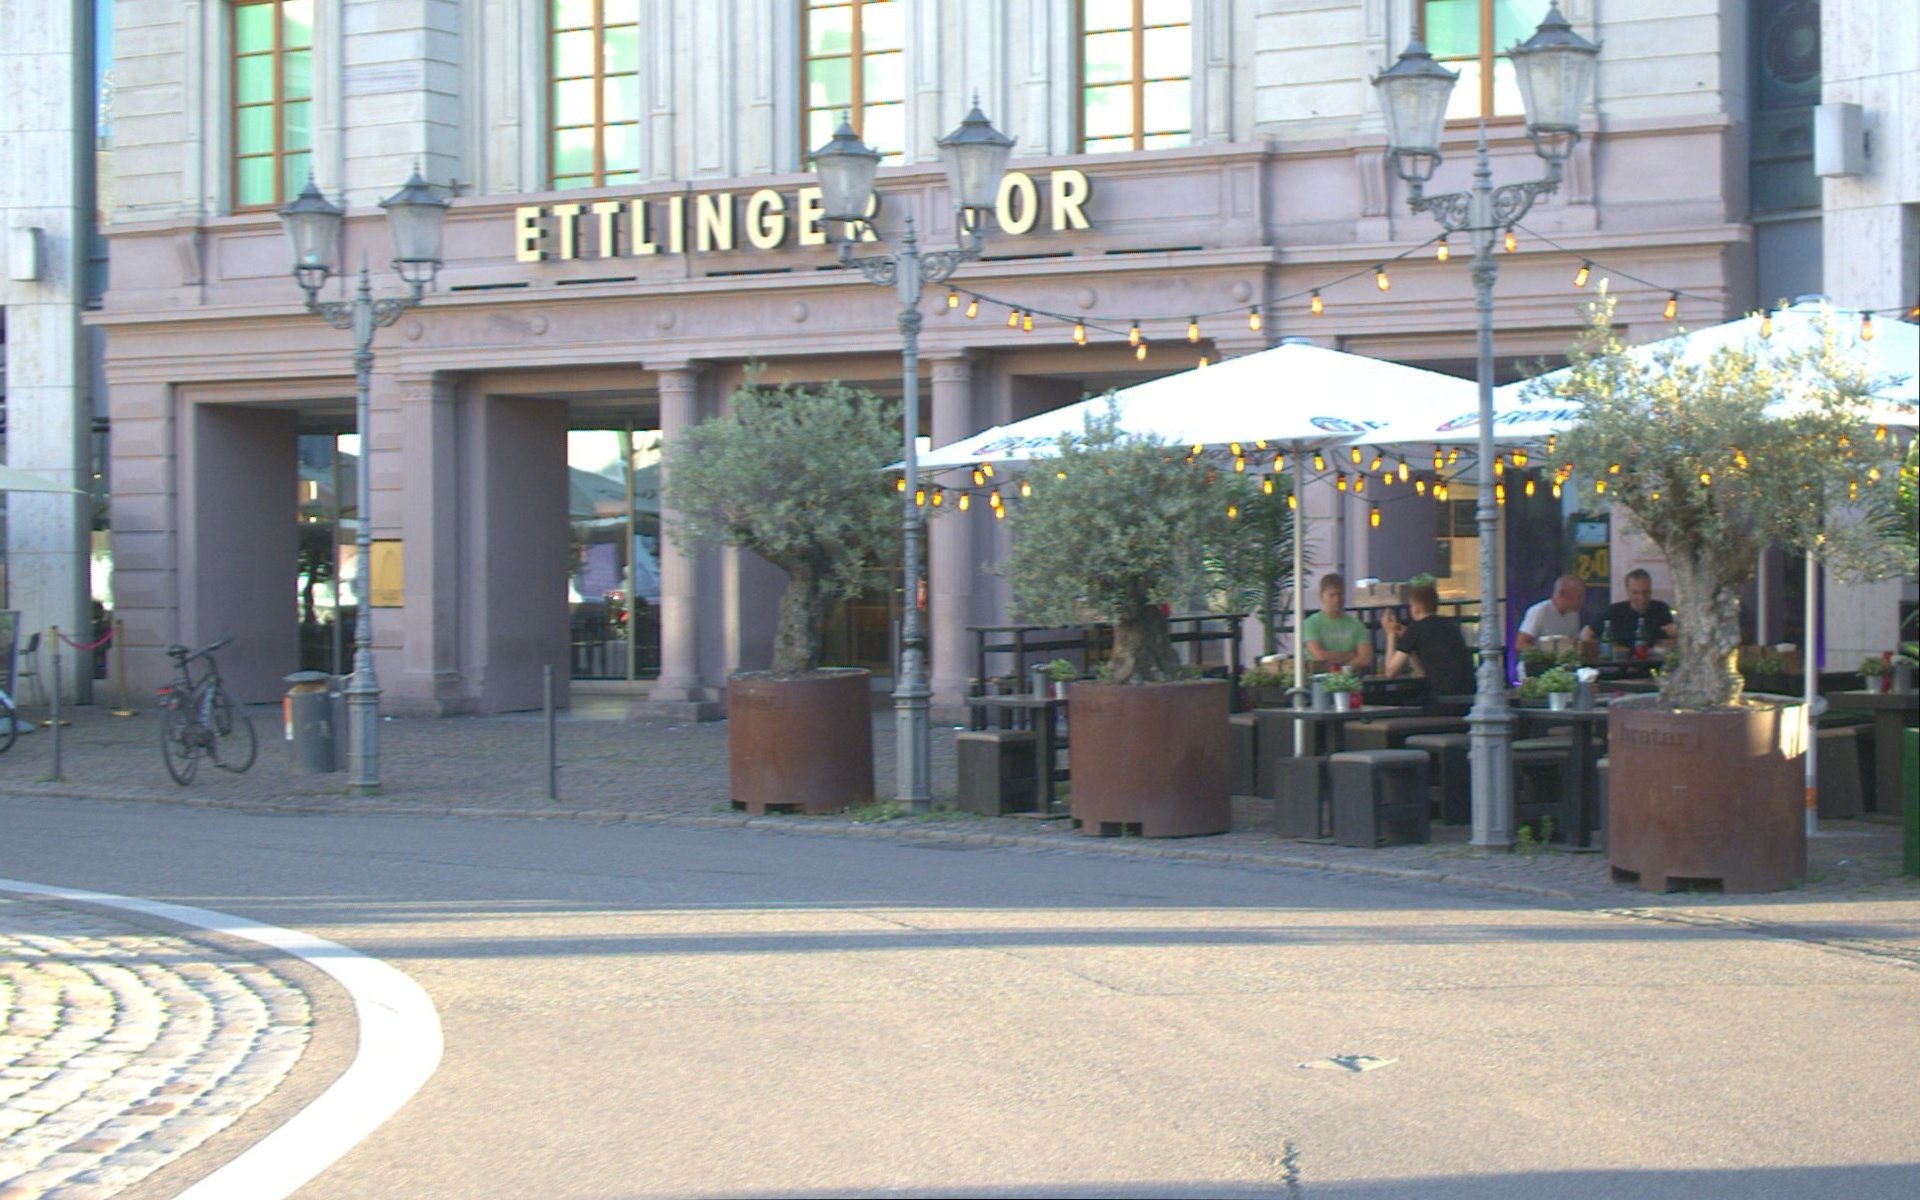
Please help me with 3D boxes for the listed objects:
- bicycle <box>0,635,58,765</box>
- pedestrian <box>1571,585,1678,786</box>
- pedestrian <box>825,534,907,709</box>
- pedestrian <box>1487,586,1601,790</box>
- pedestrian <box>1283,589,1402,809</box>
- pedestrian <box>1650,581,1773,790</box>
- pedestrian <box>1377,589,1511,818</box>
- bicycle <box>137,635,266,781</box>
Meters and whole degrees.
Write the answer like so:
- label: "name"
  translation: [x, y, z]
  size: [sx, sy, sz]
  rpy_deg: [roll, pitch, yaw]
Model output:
- label: "bicycle"
  translation: [-8.103, 0.825, 28.714]
  size: [0.619, 1.028, 1.645]
  rpy_deg: [0, 1, 4]
- label: "pedestrian"
  translation: [4.973, 0.627, 25.754]
  size: [0.543, 1.473, 0.624]
  rpy_deg: [0, 1, -21]
- label: "pedestrian"
  translation: [-0.940, 0.208, 34.363]
  size: [0.623, 1.722, 0.544]
  rpy_deg: [0, 1, 33]
- label: "pedestrian"
  translation: [4.300, 0.636, 25.328]
  size: [0.590, 1.473, 0.624]
  rpy_deg: [0, 1, -21]
- label: "pedestrian"
  translation: [2.621, 0.666, 23.574]
  size: [0.543, 1.473, 0.624]
  rpy_deg: [-1, 1, -30]
- label: "pedestrian"
  translation: [5.436, 0.605, 24.867]
  size: [0.623, 1.473, 0.624]
  rpy_deg: [-1, 1, -42]
- label: "pedestrian"
  translation: [3.200, 0.671, 22.768]
  size: [0.587, 1.473, 0.684]
  rpy_deg: [0, 1, -29]
- label: "bicycle"
  translation: [-5.704, 0.800, 25.923]
  size: [0.506, 1.028, 1.645]
  rpy_deg: [0, 1, 4]
